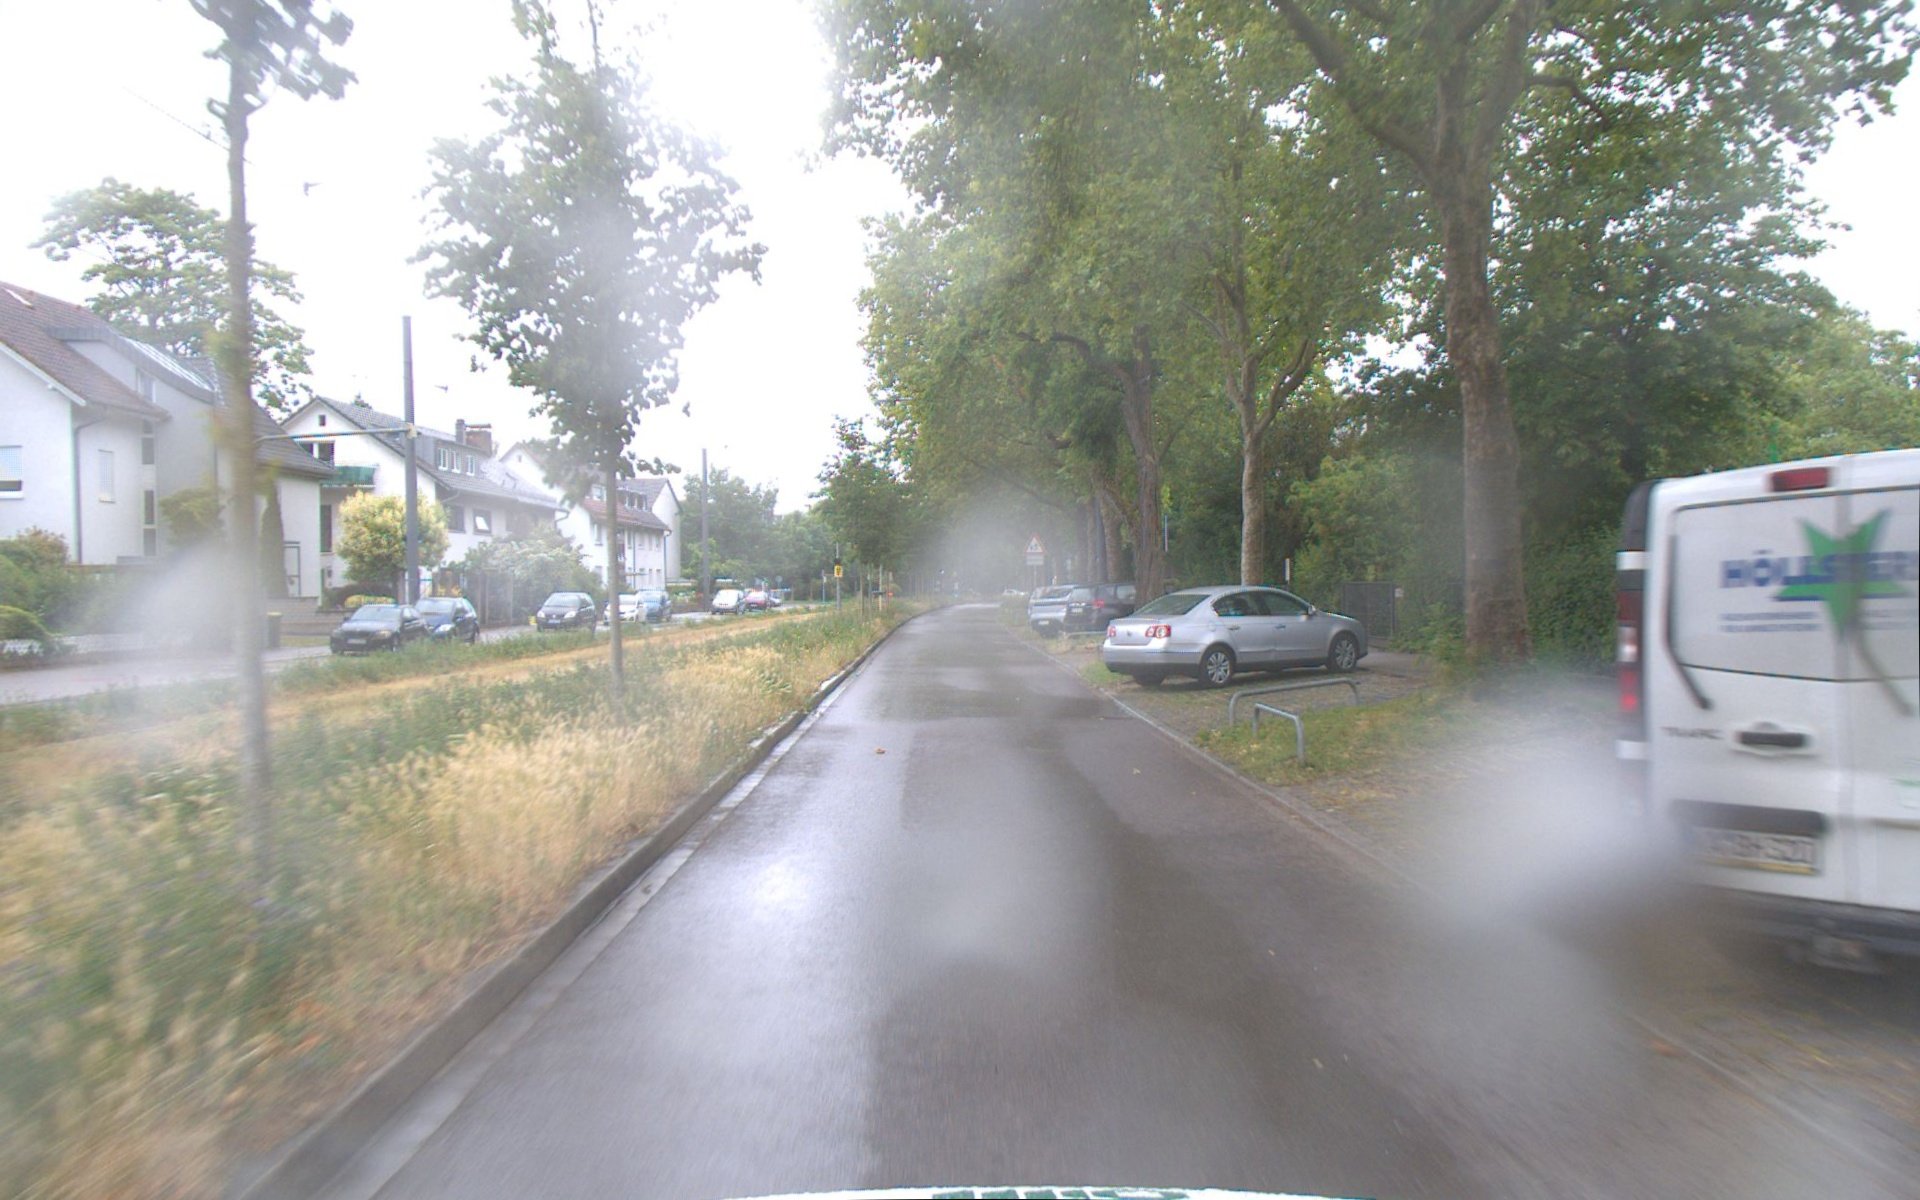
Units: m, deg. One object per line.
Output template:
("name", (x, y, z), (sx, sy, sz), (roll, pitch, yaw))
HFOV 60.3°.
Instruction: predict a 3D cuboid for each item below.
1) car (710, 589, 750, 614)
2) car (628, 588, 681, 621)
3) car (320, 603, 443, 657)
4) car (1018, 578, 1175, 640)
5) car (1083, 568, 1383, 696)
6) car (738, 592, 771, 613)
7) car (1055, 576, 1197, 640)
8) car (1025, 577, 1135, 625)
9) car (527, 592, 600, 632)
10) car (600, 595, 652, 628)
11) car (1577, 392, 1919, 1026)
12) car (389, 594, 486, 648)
("car", (-15.497, 0.087, 111.615), (1.952, 1.608, 4.517), (1, 1, 1))
("car", (-16.199, 0.197, 87.884), (1.952, 1.642, 4.413), (1, 1, 1))
("car", (-16.383, 0.828, 47.094), (1.952, 1.374, 4.241), (1, 1, 1))
("car", (4.254, 0.256, 51.069), (4.725, 1.697, 1.968), (-2, 1, -38))
("car", (4.298, 0.441, 25.758), (4.506, 1.571, 1.866), (-5, 2, -33))
("car", (-15.560, 0.169, 125.282), (1.952, 1.514, 4.206), (1, 1, 1))
("car", (4.562, 0.192, 45.241), (3.669, 1.593, 1.600), (-2, 1, -34))
("car", (4.504, 0.024, 62.156), (3.791, 1.593, 1.613), (-3, 1, -15))
("car", (-16.493, 0.468, 68.981), (1.952, 1.542, 4.206), (1, 1, 1))
("car", (-16.324, 0.557, 80.908), (1.759, 1.514, 3.597), (1, 1, 1))
("car", (4.949, 0.238, 6.993), (4.975, 2.048, 1.975), (-3, 2, -36))
("car", (-16.323, 0.632, 51.850), (1.835, 1.577, 3.869), (1, 1, -1))
